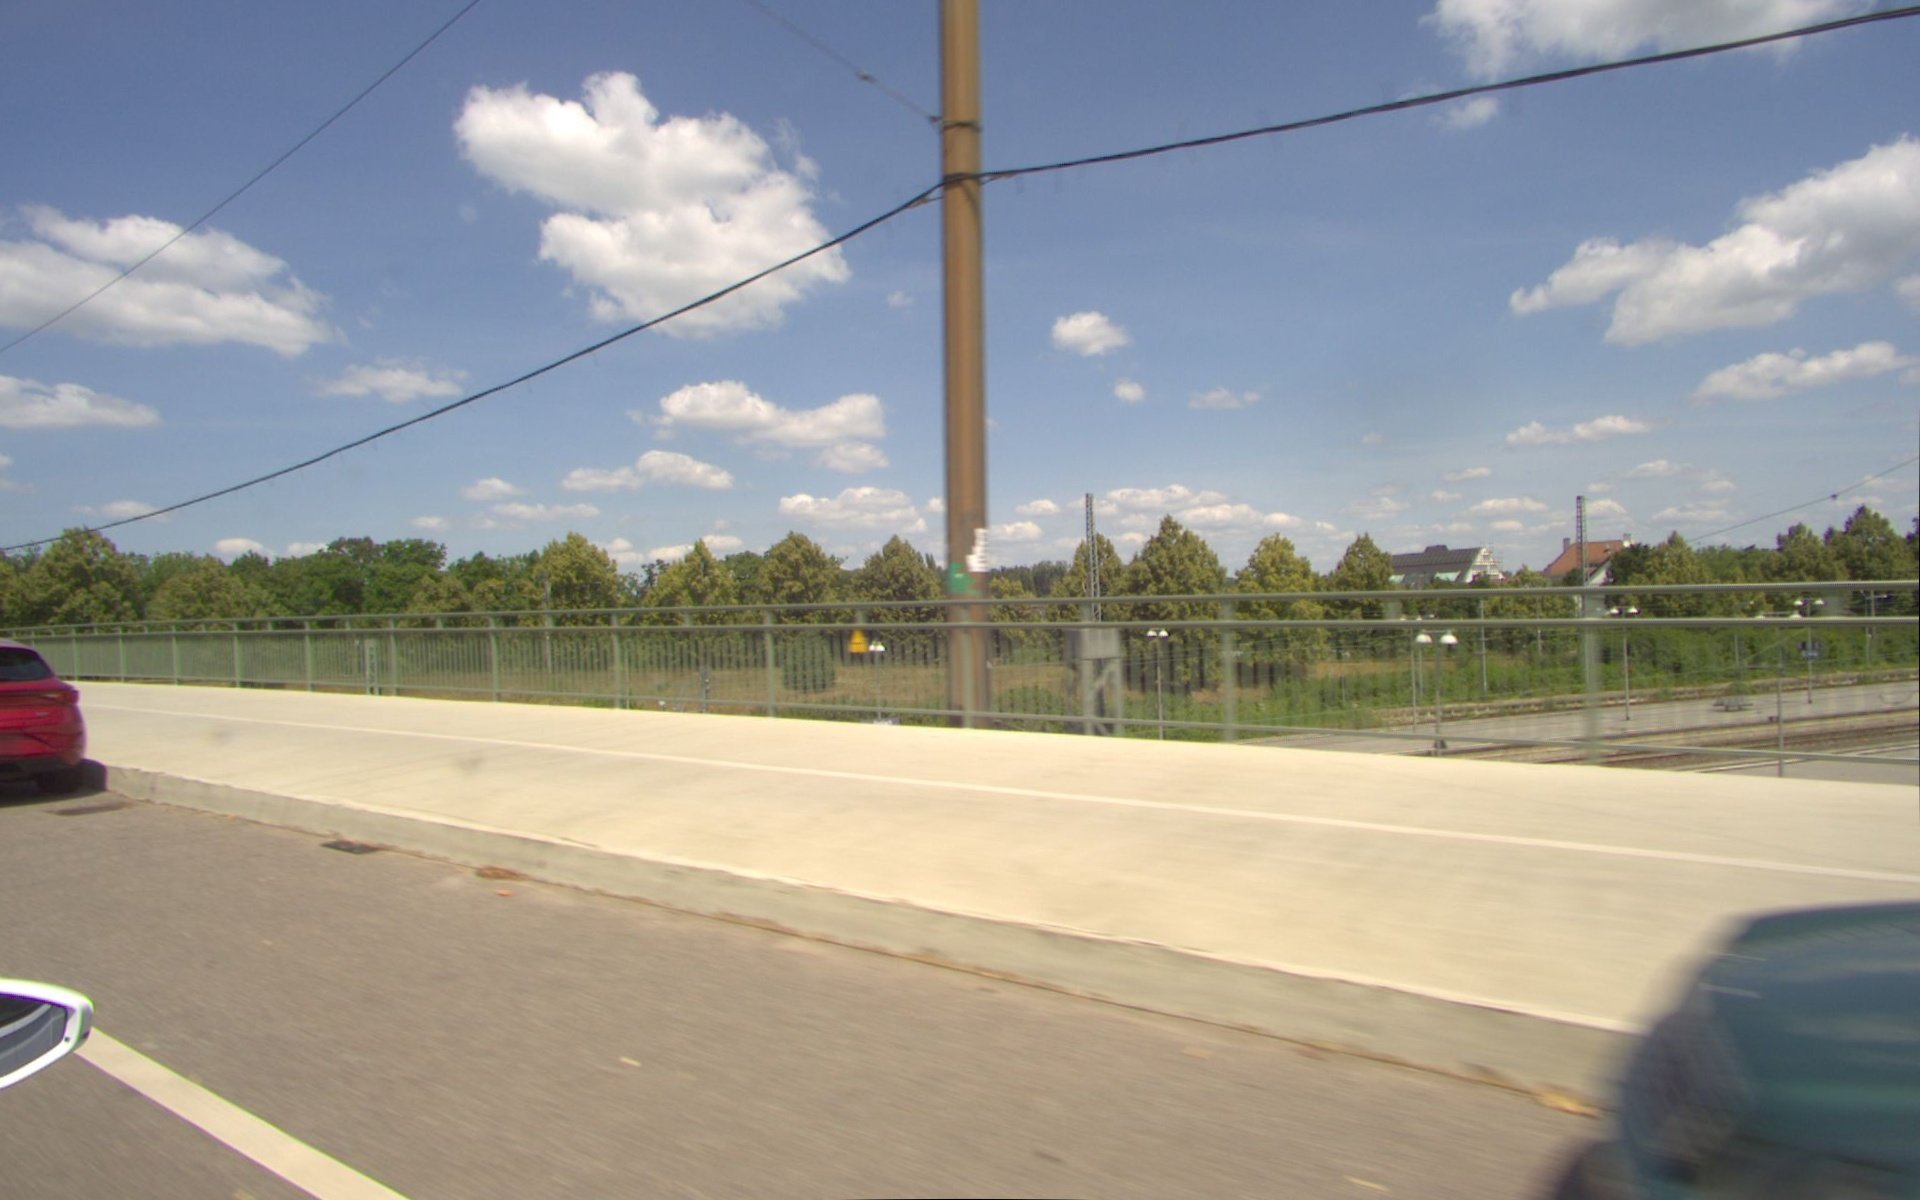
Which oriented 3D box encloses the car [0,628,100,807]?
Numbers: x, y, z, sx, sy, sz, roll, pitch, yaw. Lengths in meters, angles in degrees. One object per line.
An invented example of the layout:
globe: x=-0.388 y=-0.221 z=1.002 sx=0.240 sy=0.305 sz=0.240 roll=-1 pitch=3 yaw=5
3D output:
car: x=-9.792 y=0.996 z=9.248 sx=4.224 sy=1.479 sz=1.644 roll=-1 pitch=-1 yaw=32

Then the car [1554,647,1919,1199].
car: x=3.187 y=0.769 z=0.907 sx=4.524 sy=1.376 sz=1.682 roll=-1 pitch=-2 yaw=30
